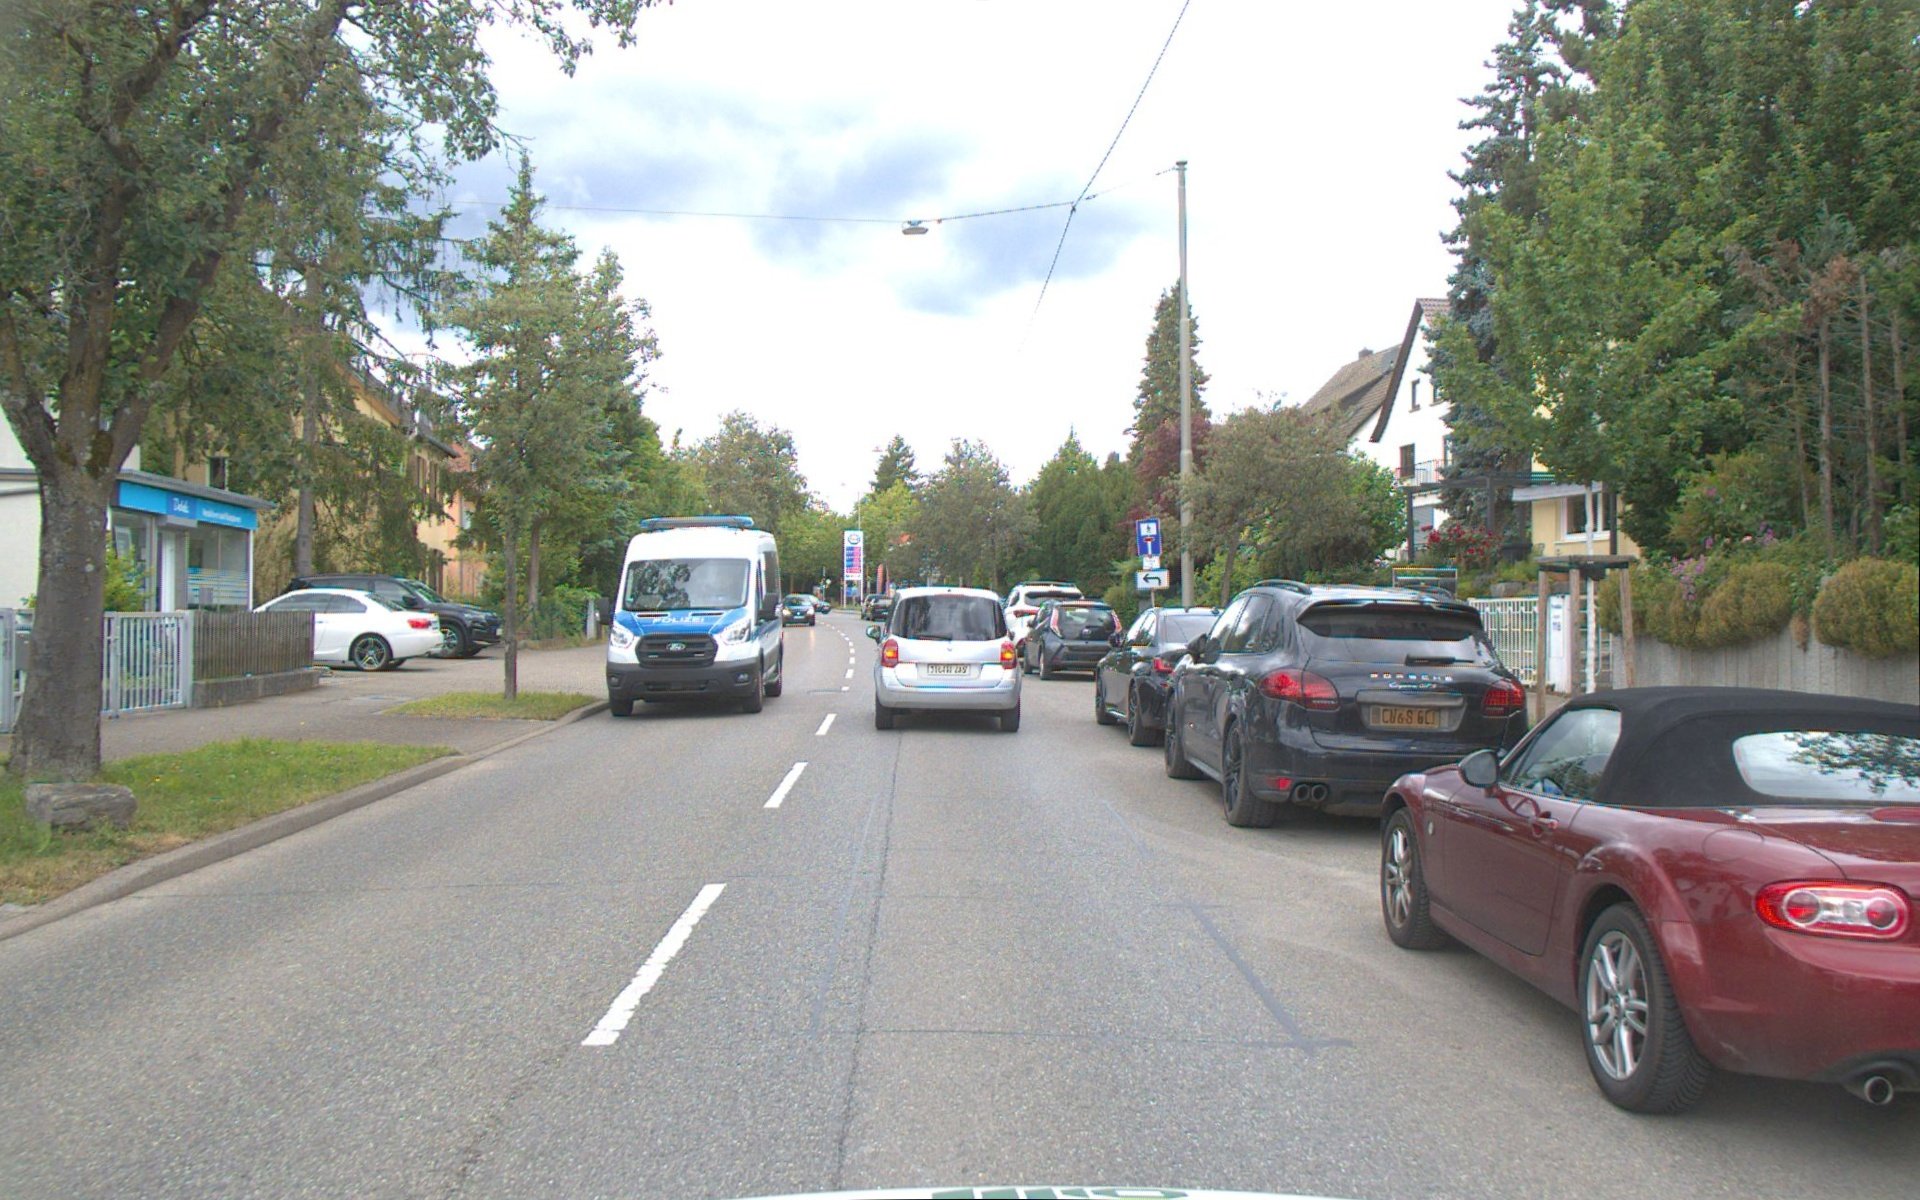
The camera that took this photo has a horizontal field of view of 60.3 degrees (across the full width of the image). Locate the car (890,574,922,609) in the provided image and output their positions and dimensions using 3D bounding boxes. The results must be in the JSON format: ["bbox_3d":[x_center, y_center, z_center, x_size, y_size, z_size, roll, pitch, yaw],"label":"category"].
[{"bbox_3d":[-4.662,-0.723,143.186,2.238,2.962,5.271,2,0,-7],"label":"car"}]

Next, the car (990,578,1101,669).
[{"bbox_3d":[1.800,0.473,36.269,1.764,1.809,4.700,2,0,-5],"label":"car"}]

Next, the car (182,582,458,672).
[{"bbox_3d":[-11.291,0.475,29.441,4.198,1.392,1.813,2,0,-8],"label":"car"}]

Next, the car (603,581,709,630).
[{"bbox_3d":[-12.243,0.220,66.902,4.008,1.735,1.745,3,0,-6],"label":"car"}]

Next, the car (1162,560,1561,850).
[{"bbox_3d":[2.752,0.638,12.451,1.793,1.741,4.548,2,0,-1],"label":"car"}]

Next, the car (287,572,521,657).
[{"bbox_3d":[-11.714,0.310,35.041,4.245,1.646,1.973,1,0,-1],"label":"car"}]

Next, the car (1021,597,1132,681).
[{"bbox_3d":[2.161,0.695,31.432,1.528,1.468,3.503,1,0,-5],"label":"car"}]

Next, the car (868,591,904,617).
[{"bbox_3d":[-4.407,0.215,98.068,1.664,1.532,3.964,0,0,-10],"label":"car"}]

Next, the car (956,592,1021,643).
[{"bbox_3d":[0.858,0.519,51.502,1.595,1.477,3.871,-1,0,-6],"label":"car"}]

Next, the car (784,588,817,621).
[{"bbox_3d":[-7.743,0.216,80.463,1.544,1.498,3.467,-3,0,-5],"label":"car"}]

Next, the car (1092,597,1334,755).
[{"bbox_3d":[2.649,0.734,18.351,1.793,1.482,4.548,2,0,-2],"label":"car"}]

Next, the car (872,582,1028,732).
[{"bbox_3d":[-0.125,0.605,19.478,1.645,1.587,3.511,1,0,-1],"label":"car"}]

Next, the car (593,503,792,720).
[{"bbox_3d":[-3.587,0.132,23.177,2.032,2.627,5.297,-2,0,-2],"label":"car"}]

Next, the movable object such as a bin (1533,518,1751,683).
[{"bbox_3d":[8.961,0.011,21.817,2.266,2.049,1.341,2,0,-6],"label":"movable object such as a bin"}]

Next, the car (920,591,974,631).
[{"bbox_3d":[-0.560,0.454,67.237,1.663,1.585,3.948,1,-1,-8],"label":"car"}]

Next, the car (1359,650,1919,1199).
[{"bbox_3d":[2.743,0.912,6.159,1.451,1.257,3.883,2,0,-2],"label":"car"}]
